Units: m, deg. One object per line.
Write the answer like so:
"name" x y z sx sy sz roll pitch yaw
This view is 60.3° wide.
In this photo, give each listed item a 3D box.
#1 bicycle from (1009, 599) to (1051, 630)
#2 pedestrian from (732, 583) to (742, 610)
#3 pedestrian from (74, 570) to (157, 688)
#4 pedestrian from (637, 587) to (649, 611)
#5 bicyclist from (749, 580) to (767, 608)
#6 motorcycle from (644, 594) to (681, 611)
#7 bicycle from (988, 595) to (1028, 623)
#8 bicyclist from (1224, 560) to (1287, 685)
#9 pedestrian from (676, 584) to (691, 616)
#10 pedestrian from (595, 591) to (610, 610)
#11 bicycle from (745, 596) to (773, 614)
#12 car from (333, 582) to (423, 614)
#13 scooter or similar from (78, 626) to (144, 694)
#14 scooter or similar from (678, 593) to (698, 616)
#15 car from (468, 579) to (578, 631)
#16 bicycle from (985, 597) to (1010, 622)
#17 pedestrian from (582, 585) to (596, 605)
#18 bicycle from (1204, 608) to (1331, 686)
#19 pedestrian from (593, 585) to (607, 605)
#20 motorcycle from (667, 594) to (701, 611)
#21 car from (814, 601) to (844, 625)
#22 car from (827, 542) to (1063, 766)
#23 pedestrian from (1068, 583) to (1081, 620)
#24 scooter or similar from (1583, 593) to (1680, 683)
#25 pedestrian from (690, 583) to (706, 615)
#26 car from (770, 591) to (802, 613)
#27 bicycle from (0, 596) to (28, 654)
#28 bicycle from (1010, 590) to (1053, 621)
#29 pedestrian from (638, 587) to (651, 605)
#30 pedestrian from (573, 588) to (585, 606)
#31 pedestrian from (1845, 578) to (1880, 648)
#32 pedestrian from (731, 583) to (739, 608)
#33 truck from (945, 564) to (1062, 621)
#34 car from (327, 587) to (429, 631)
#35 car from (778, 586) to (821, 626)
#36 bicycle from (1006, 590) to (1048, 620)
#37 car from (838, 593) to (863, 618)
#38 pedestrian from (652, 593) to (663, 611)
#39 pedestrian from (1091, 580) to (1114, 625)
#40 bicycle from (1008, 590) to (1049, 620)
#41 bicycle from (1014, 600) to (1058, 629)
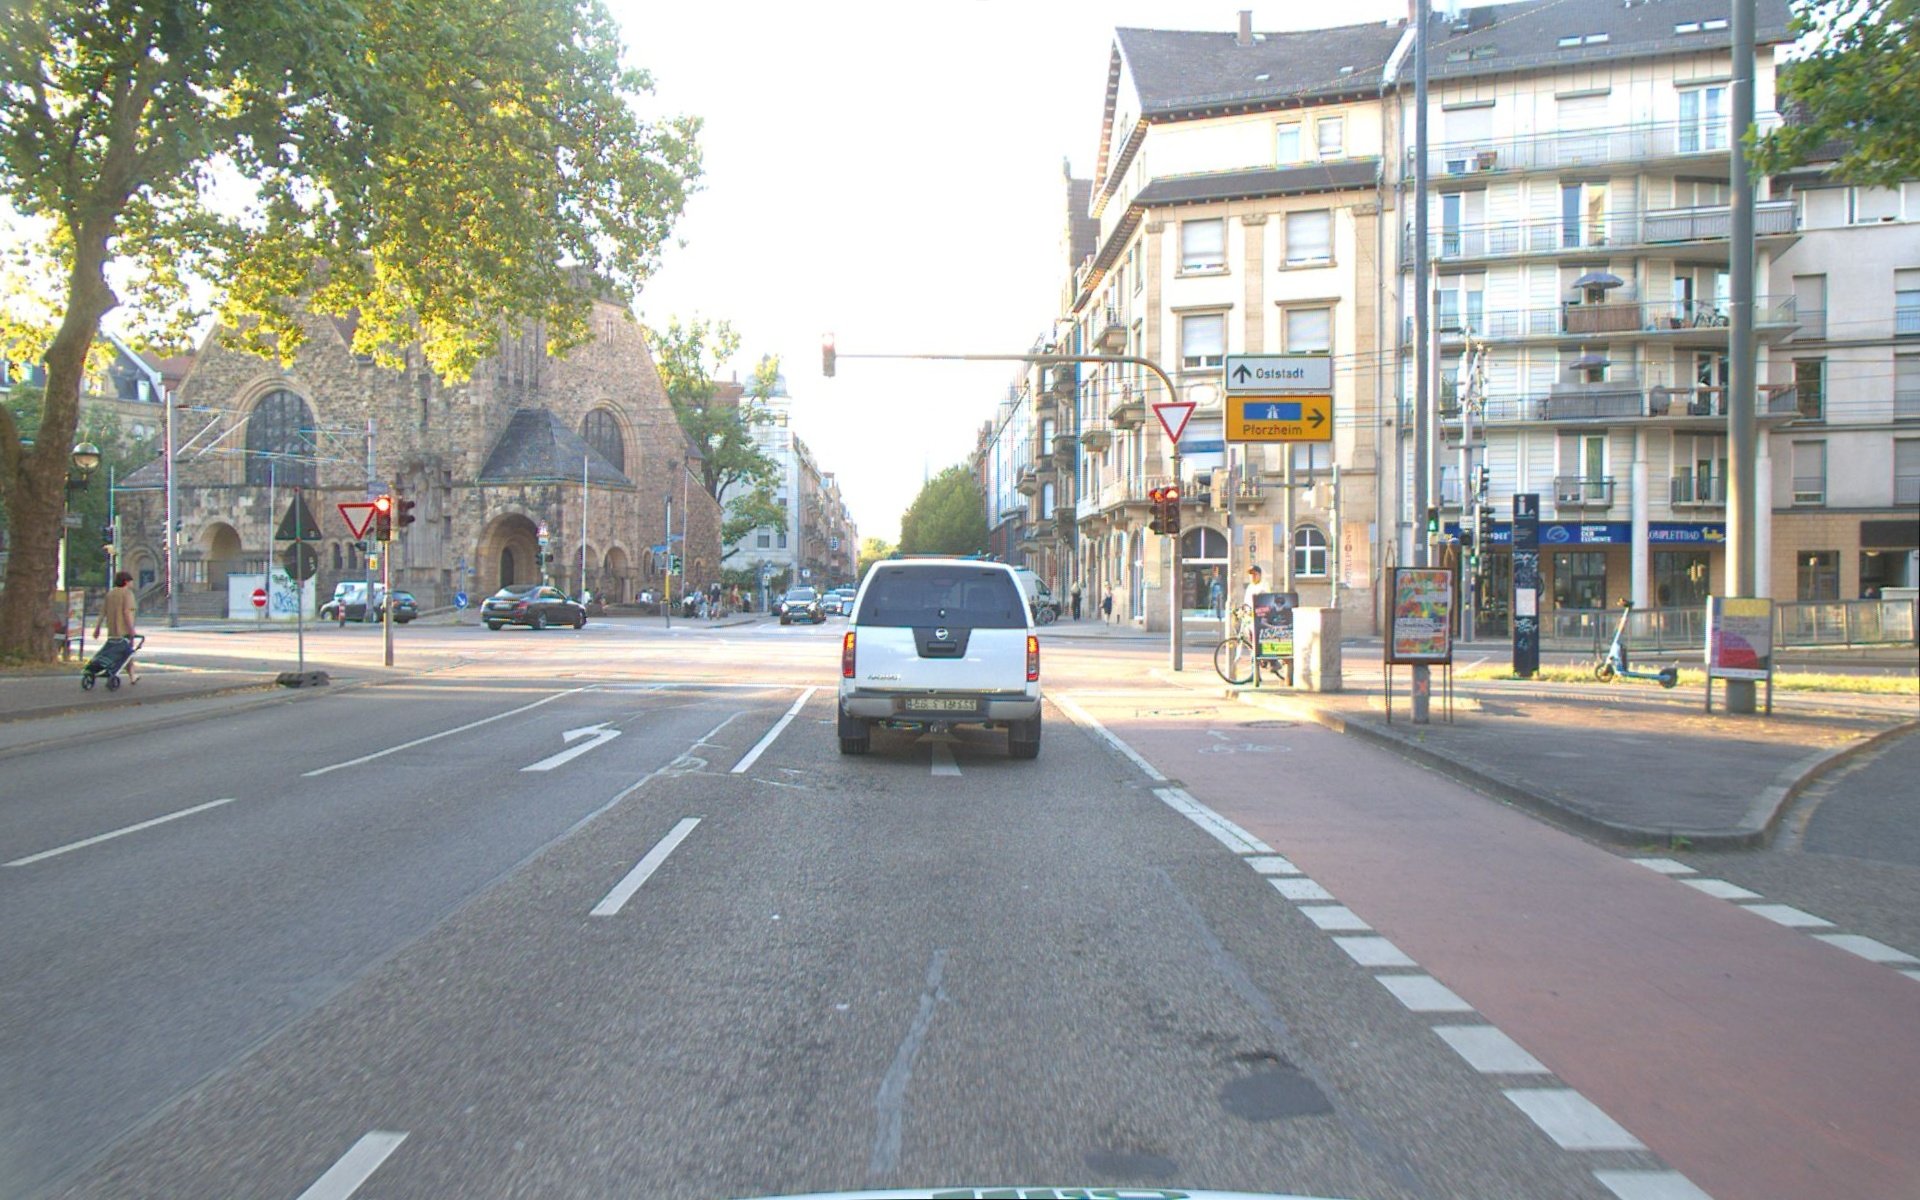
"bicycle" 3.105 0.651 73.289 1.781 1.259 0.477 -3 0 -3
"pedestrian" -15.495 -0.233 114.958 0.632 1.888 0.559 1 -1 -15
"pedestrian" -12.083 0.408 23.689 0.786 1.656 0.773 1 -1 -6
"pedestrian" -17.363 -0.058 90.597 0.468 1.267 0.523 1 -1 16
"bicyclist" -12.633 -0.373 103.282 0.945 1.673 0.598 1 -1 40
"motorcycle" -18.504 0.138 102.804 2.201 1.005 0.707 1 0 -7
"bicycle" 2.092 0.393 72.088 1.692 1.102 0.317 -3 0 -3
"bicyclist" 4.453 0.339 24.957 0.690 1.856 0.621 1 -1 -33
"pedestrian" -14.992 -0.010 89.622 0.620 1.728 0.603 1 2 12
"pedestrian" -18.362 0.036 84.950 0.469 0.977 0.522 1 -1 29
"bicycle" -12.576 0.312 103.221 1.910 1.062 0.597 1 -1 41
"car" -29.325 -0.077 83.476 1.679 1.543 4.454 1 0 23
"scooter or similar" -11.739 0.822 22.884 0.580 0.913 0.849 1 0 -11
"scooter or similar" -14.566 0.243 88.528 0.620 1.122 1.079 1 4 17
"car" -14.406 0.169 54.753 1.951 1.646 4.003 1 0 11
"bicycle" 1.663 0.435 72.964 1.055 1.042 0.317 -3 0 -3
"pedestrian" -18.831 -0.256 84.049 0.511 0.977 0.479 1 -1 18
"bicycle" 4.674 0.707 25.091 2.046 1.129 0.621 1 -1 -34
"pedestrian" -18.217 -0.246 83.783 0.511 0.977 0.479 1 -1 18
"motorcycle" -17.534 0.164 105.108 2.119 1.005 0.594 1 0 19
"car" -9.649 0.926 122.112 1.954 1.585 4.767 3 1 -2
"car" -0.153 0.459 15.894 1.953 1.841 3.999 1 0 -1
"pedestrian" 5.246 0.057 75.827 0.517 1.683 0.547 1 -1 -1
"scooter or similar" 9.810 0.543 24.169 1.211 1.271 0.513 1 -1 39
"pedestrian" -14.152 -0.064 89.497 0.620 1.728 0.603 1 -1 18
"car" -11.843 0.124 112.767 1.821 1.422 3.999 1 0 -2
"bicycle" -18.789 0.487 32.099 0.449 1.112 1.798 1 0 -3
"bicycle" 3.133 0.239 72.581 1.781 1.259 0.488 -3 0 -3
"pedestrian" -17.060 -0.202 89.511 0.510 0.977 0.479 1 -1 16
"pedestrian" -21.628 -0.161 93.915 0.541 0.977 0.708 1 0 -7
"pedestrian" 29.481 0.429 54.040 0.850 2.247 0.821 1 -1 19
"pedestrian" -15.752 -0.319 115.793 0.549 1.725 0.643 1 -1 -9
"truck" 2.109 -0.320 78.186 5.630 2.610 2.250 1 0 -45
"car" -24.004 0.370 68.191 3.916 1.713 1.994 1 0 33
"car" -8.056 0.270 83.357 1.954 1.815 4.796 0 2 -3
"bicycle" 3.042 0.221 75.153 1.818 1.259 0.530 -3 0 -3
"car" -9.241 0.444 139.538 1.953 2.049 4.948 0 0 -2
"pedestrian" -16.355 0.092 89.361 0.513 0.977 0.477 1 -1 -17
"pedestrian" 5.769 0.114 66.980 0.771 1.810 0.543 1 -1 24
"bicycle" 3.092 0.218 74.623 1.781 1.259 0.410 -3 0 -3
"bicycle" 3.286 0.622 71.641 1.781 1.170 0.636 -3 0 -3
